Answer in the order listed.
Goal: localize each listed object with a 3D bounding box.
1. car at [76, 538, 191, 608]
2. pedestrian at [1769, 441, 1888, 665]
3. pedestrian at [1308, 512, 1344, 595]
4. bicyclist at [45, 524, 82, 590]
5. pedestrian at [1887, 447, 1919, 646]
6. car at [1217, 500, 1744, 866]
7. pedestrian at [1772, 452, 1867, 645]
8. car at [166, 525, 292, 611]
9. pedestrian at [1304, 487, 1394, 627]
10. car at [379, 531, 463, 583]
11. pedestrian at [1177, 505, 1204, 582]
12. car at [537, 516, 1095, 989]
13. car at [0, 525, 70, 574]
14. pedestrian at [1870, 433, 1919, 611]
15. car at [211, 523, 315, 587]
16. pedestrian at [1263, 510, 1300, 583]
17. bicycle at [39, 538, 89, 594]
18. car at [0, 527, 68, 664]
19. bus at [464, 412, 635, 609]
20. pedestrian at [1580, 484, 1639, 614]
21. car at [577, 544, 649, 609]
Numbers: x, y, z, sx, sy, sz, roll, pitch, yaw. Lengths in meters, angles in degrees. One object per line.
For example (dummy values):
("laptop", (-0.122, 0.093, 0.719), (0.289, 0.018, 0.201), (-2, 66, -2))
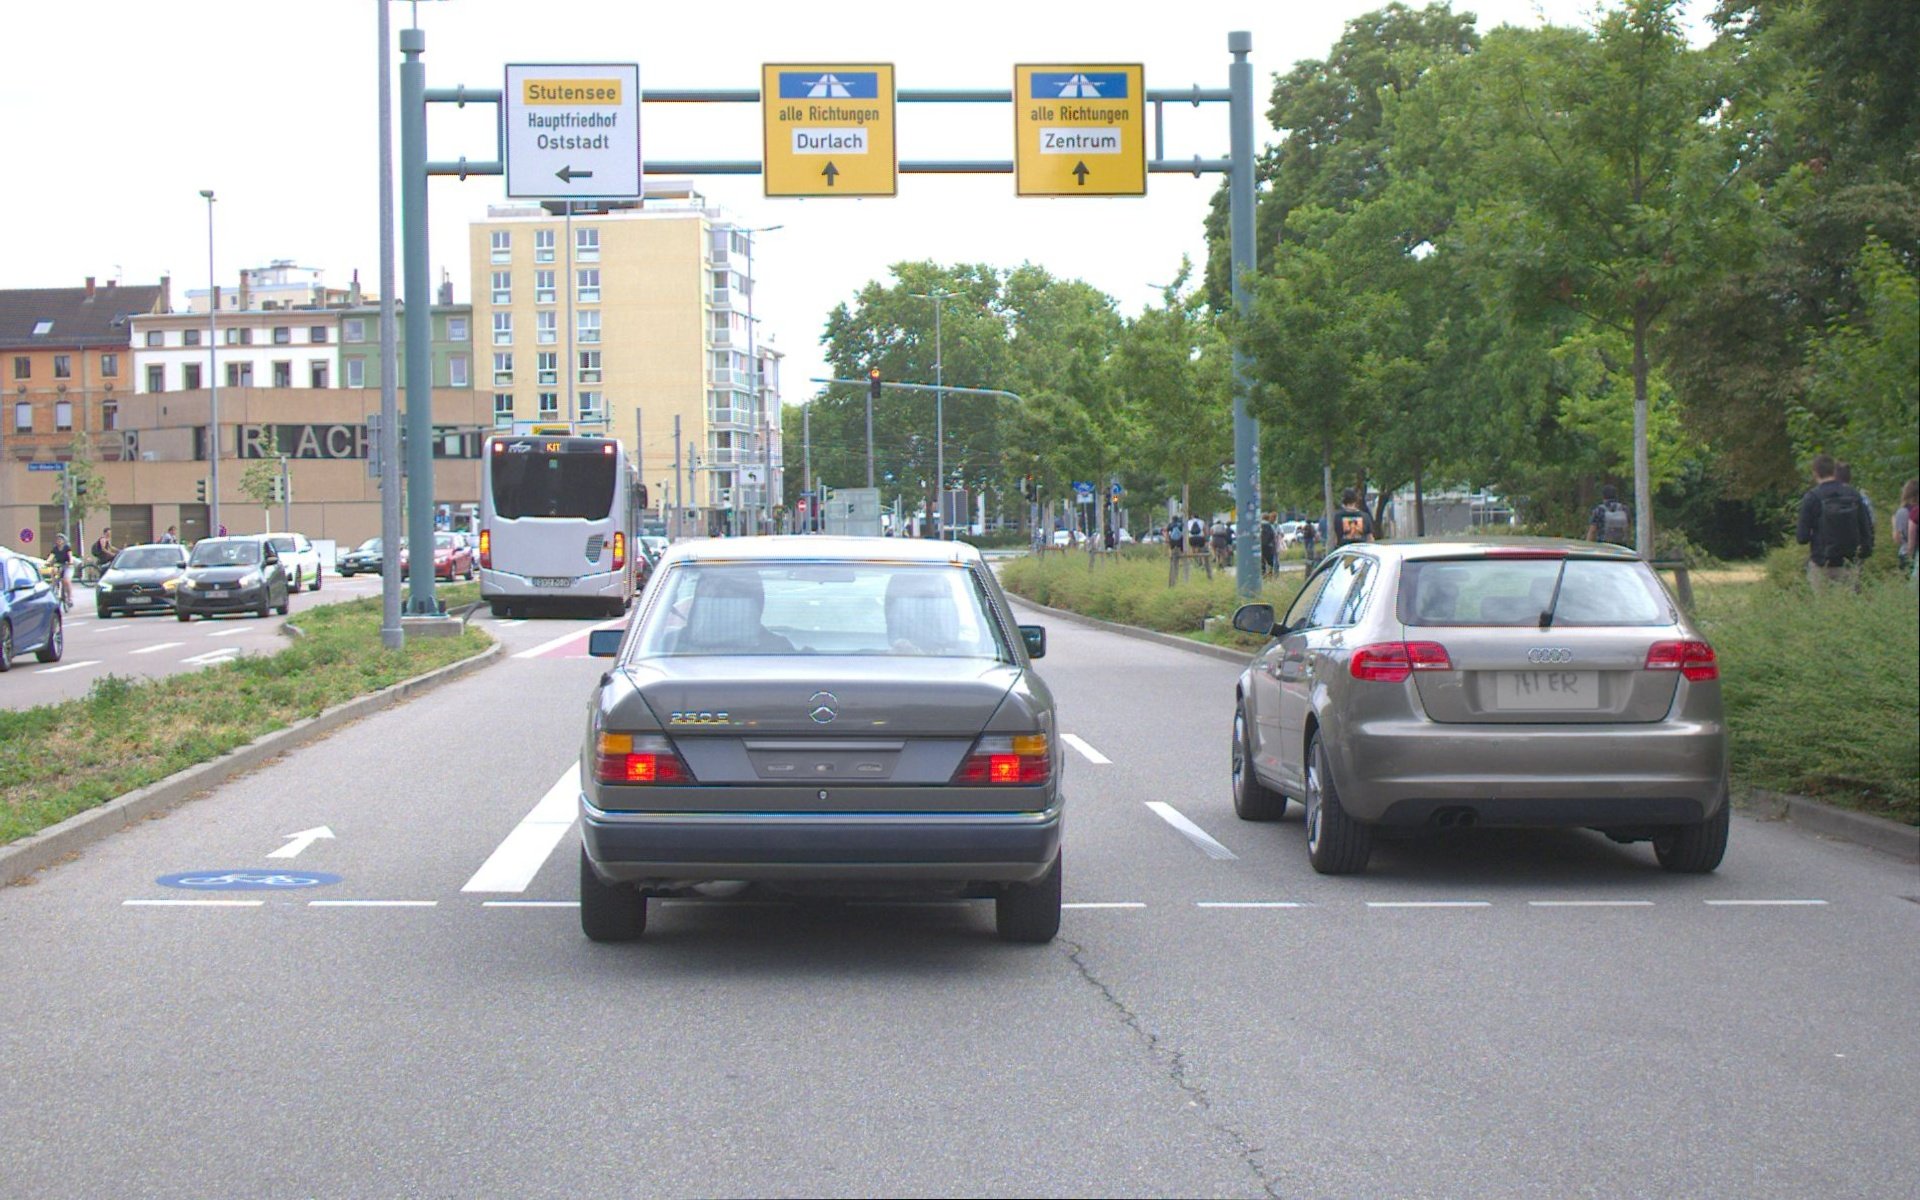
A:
("car", (-16.653, -0.567, 69.436), (1.502, 1.360, 3.833), (0, 1, -2))
("pedestrian", (7.178, -0.392, 28.446), (0.693, 1.815, 0.954), (-1, 1, -3))
("pedestrian", (7.589, -0.971, 71.262), (0.647, 1.707, 0.561), (-1, 1, 12))
("bicyclist", (-19.319, -0.937, 74.072), (0.580, 1.414, 0.811), (-1, 1, -2))
("pedestrian", (8.189, -0.458, 28.878), (0.555, 1.649, 0.753), (-1, 1, -3))
("car", (2.239, 0.292, 15.713), (1.724, 1.452, 3.736), (-1, 1, -2))
("pedestrian", (7.853, -0.473, 31.430), (0.619, 1.729, 0.814), (-1, 1, -3))
("car", (-13.283, -0.609, 62.612), (1.571, 1.484, 3.637), (-2, 1, -2))
("pedestrian", (5.163, -0.572, 45.619), (0.935, 1.824, 0.886), (0, 1, 24))
("car", (-16.307, -1.321, 104.150), (1.801, 1.484, 4.289), (-1, 1, 0))
("pedestrian", (6.052, -1.486, 90.206), (0.614, 2.007, 0.597), (0, 1, -4))
("car", (-0.532, 0.438, 13.060), (1.761, 1.484, 4.172), (-1, 1, -2))
("car", (-30.094, -1.602, 108.251), (3.855, 1.512, 1.661), (0, 1, -8))
("pedestrian", (8.804, -0.727, 31.972), (0.468, 1.627, 0.653), (-1, 1, -3))
("car", (-16.935, -1.114, 83.710), (1.801, 1.484, 4.416), (-1, 1, -3))
("pedestrian", (7.658, -1.277, 81.858), (0.802, 1.707, 0.764), (-1, 1, 10))
("bicycle", (-19.333, -0.744, 74.185), (0.581, 1.166, 1.964), (-1, 1, -1))
("car", (-12.092, -0.078, 41.511), (1.801, 1.506, 4.105), (-1, 2, -4))
("bus", (-7.497, -1.645, 63.629), (2.831, 3.378, 8.184), (-1, 1, -5))
("pedestrian", (8.484, -0.674, 44.934), (0.587, 1.677, 0.748), (-1, 1, -3))
("car", (-8.279, -0.575, 82.163), (1.654, 1.391, 3.861), (-1, 2, -6))
